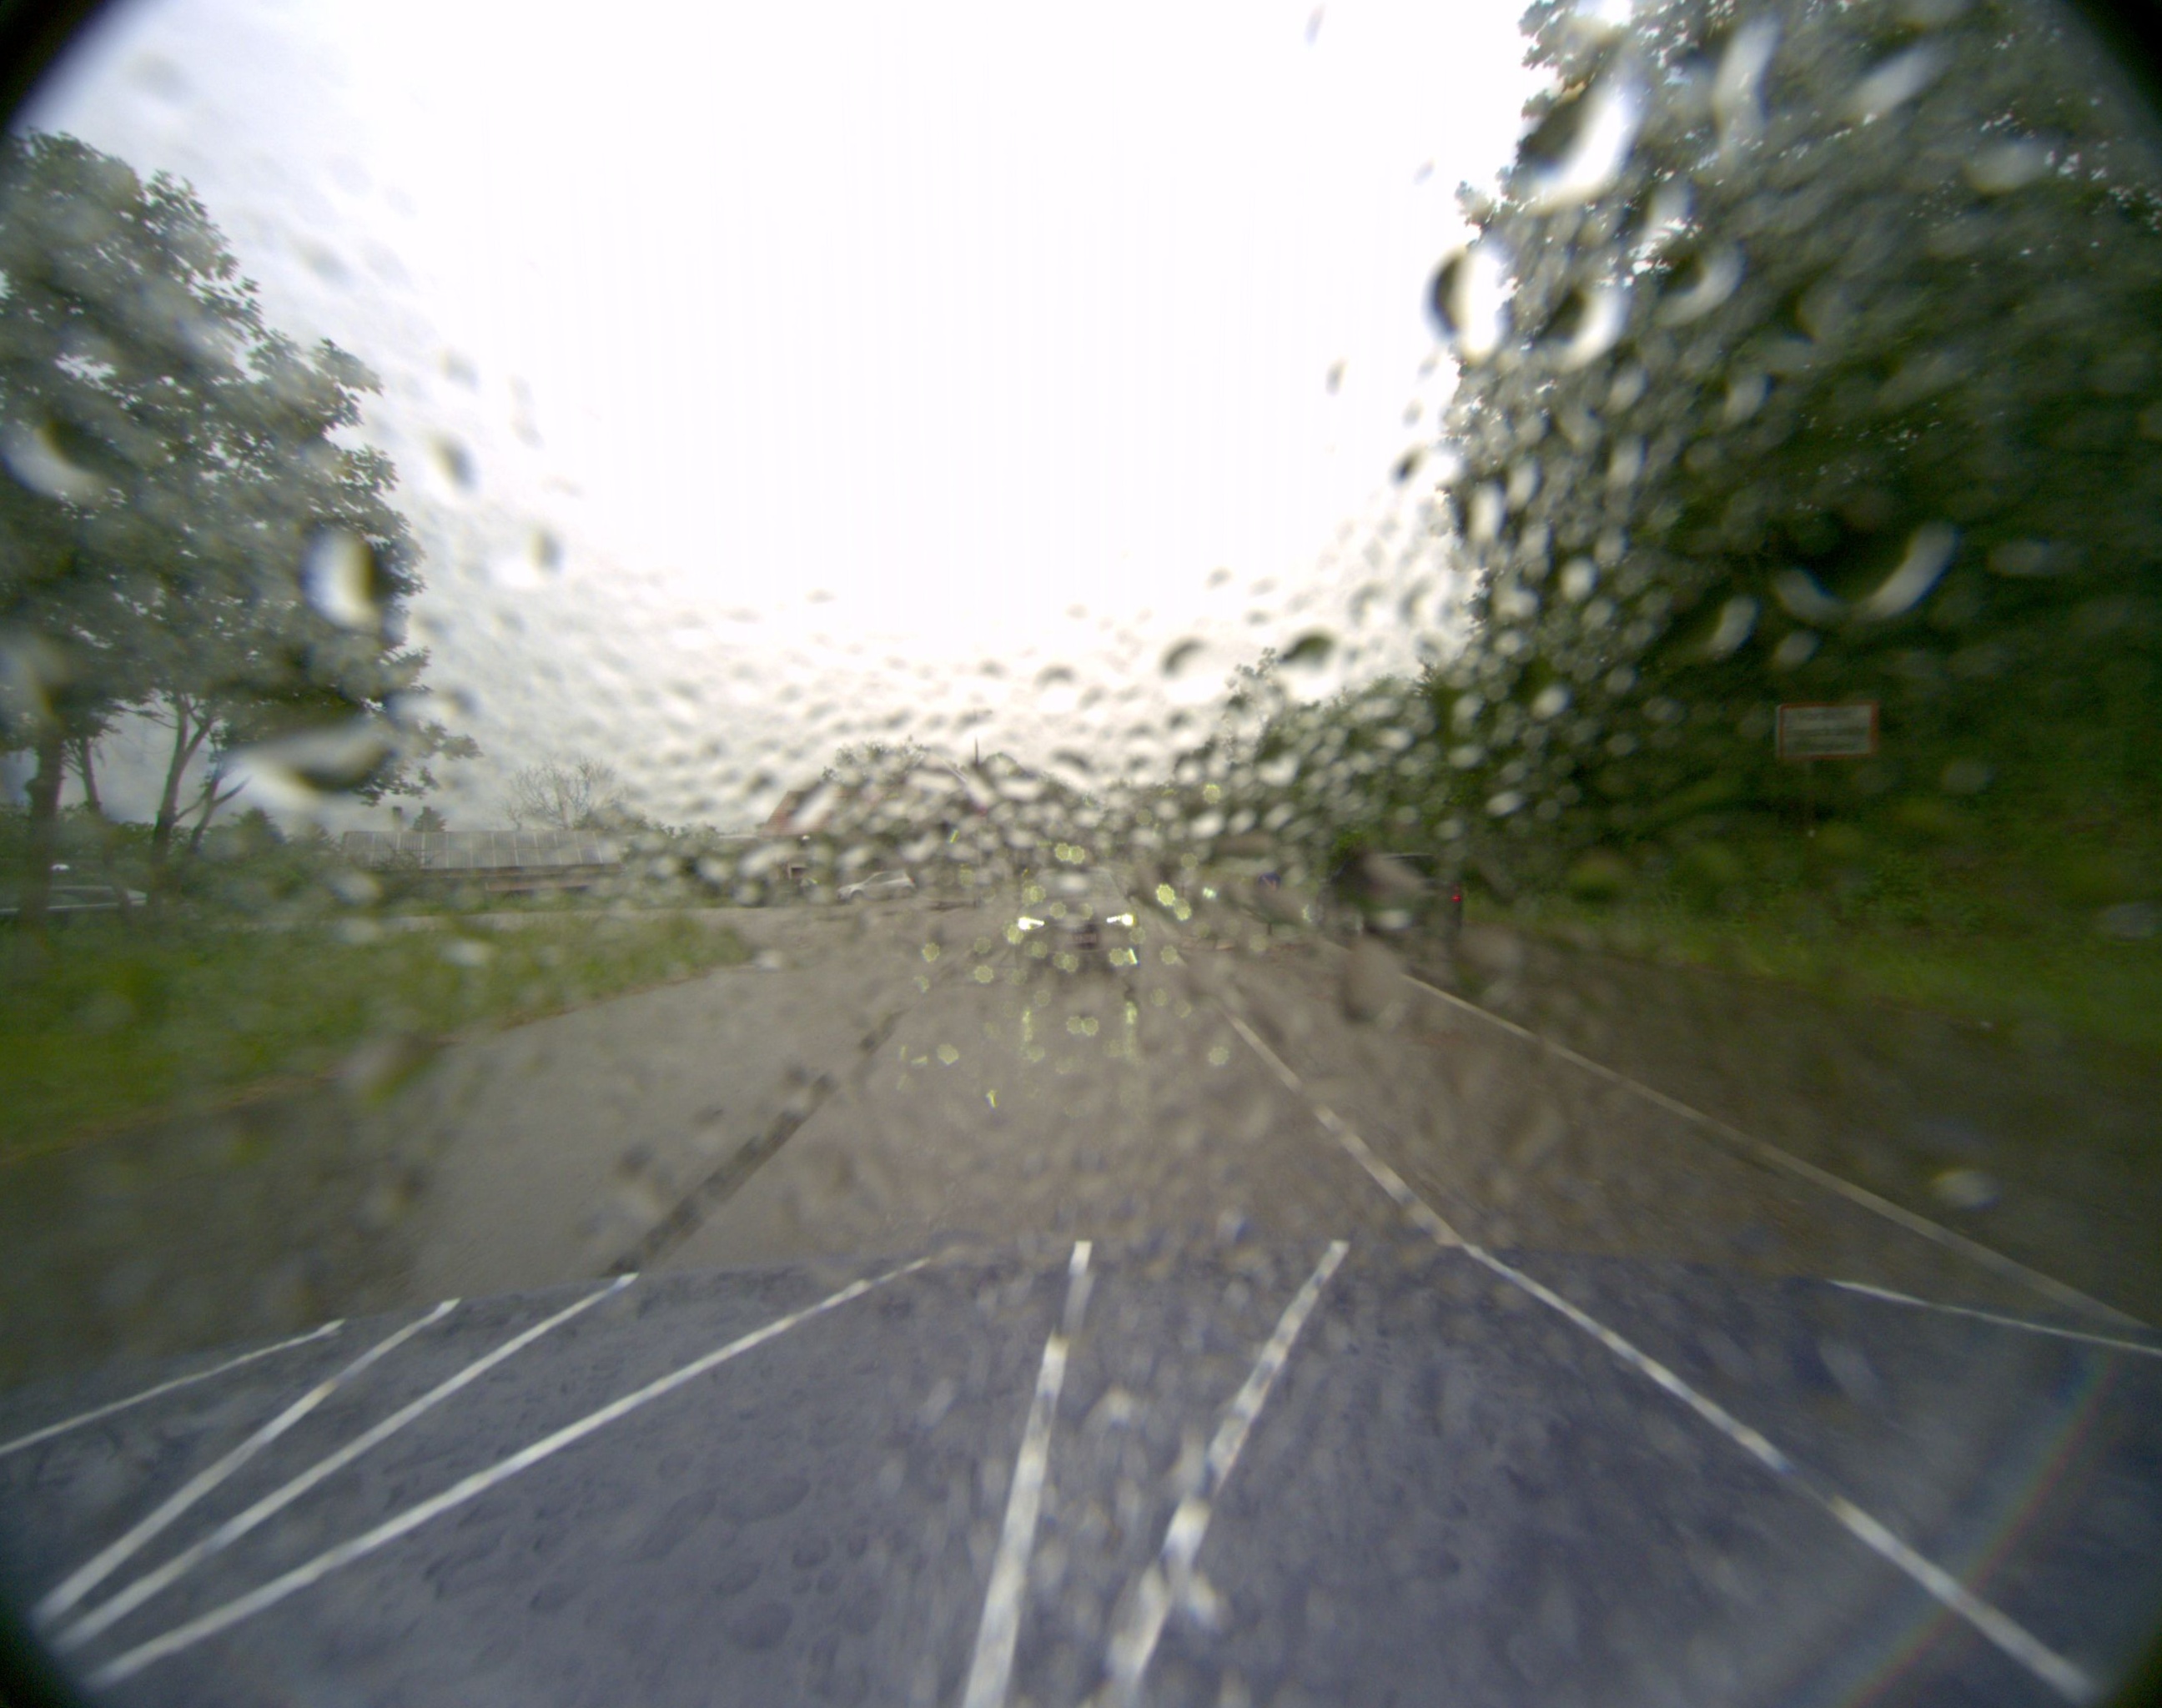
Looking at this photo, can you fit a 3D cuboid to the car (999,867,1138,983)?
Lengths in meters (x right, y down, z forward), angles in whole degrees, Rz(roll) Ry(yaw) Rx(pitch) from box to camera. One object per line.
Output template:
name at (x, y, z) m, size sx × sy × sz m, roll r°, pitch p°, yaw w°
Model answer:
car at (-0.076, 0.980, 12.290) m, size 1.766 × 1.316 × 4.549 m, roll -3°, pitch 0°, yaw 2°

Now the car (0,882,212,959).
car at (-21.822, 1.426, 16.064) m, size 4.117 × 1.351 × 1.900 m, roll -4°, pitch 1°, yaw -32°

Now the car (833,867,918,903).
car at (-10.667, 1.576, 39.430) m, size 3.862 × 1.523 × 1.715 m, roll -4°, pitch 1°, yaw -30°

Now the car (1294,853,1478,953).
car at (5.310, 0.755, 13.852) m, size 1.695 × 1.478 × 4.072 m, roll -2°, pitch 0°, yaw 0°
